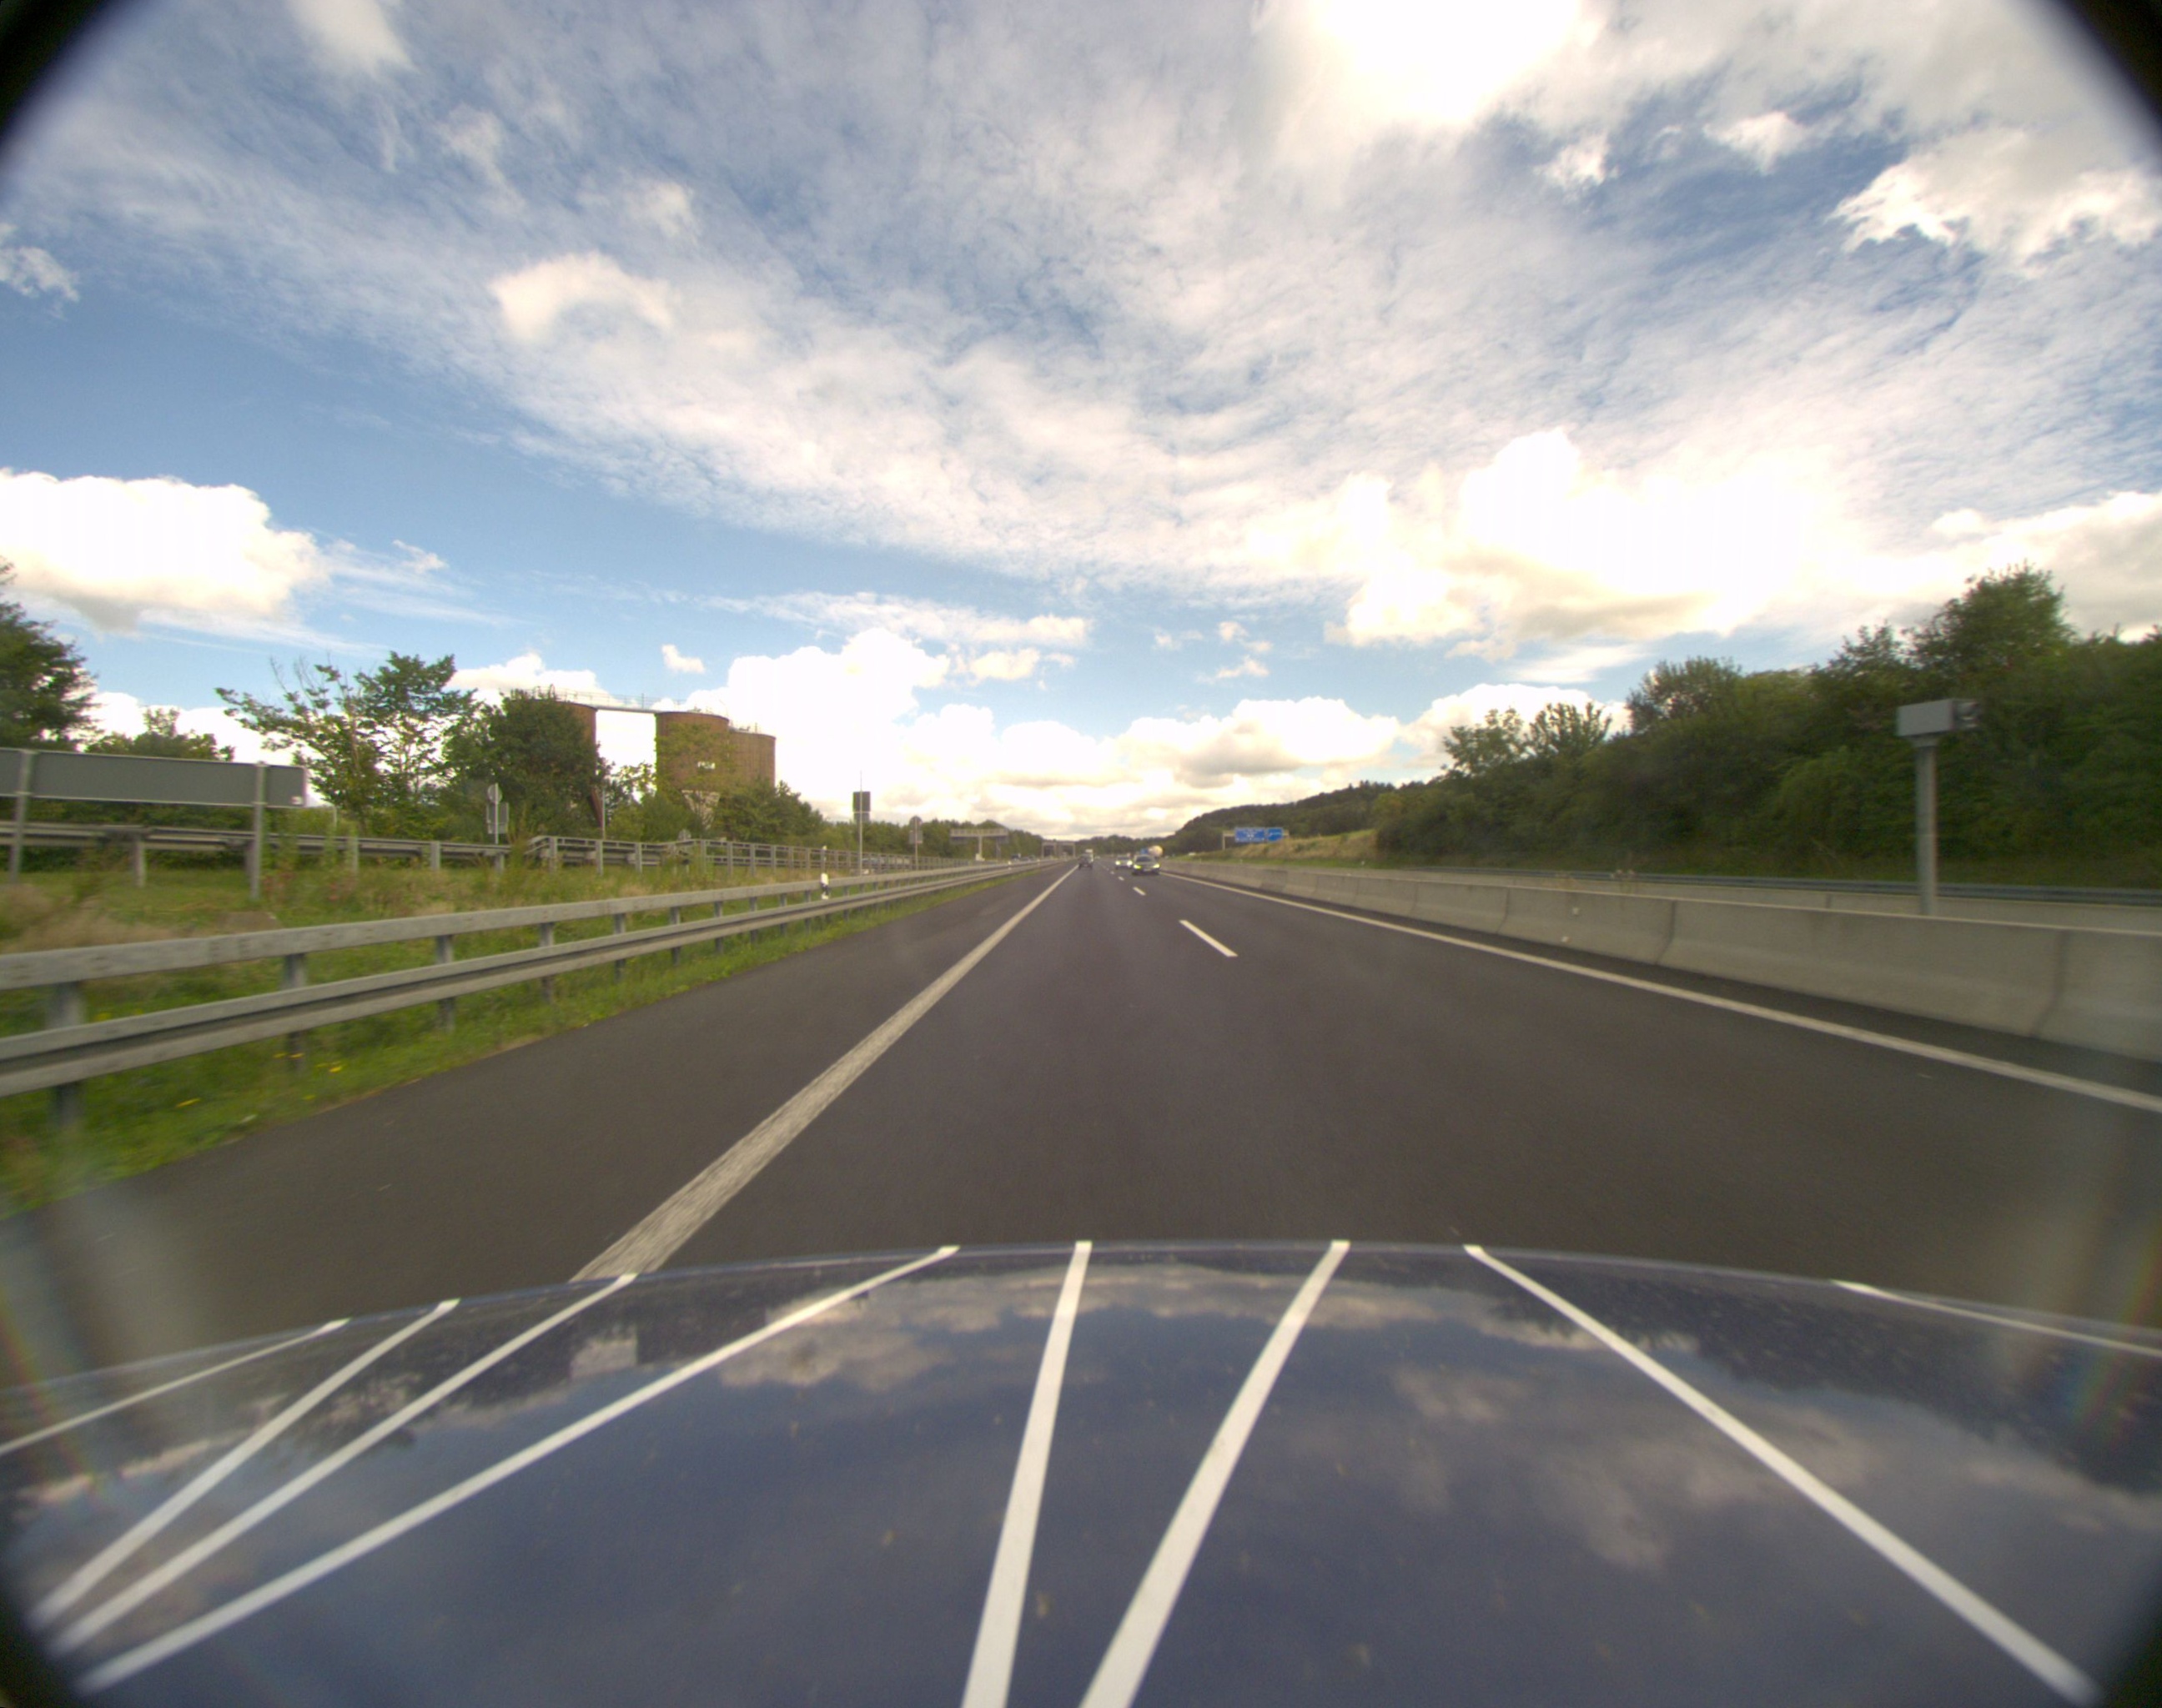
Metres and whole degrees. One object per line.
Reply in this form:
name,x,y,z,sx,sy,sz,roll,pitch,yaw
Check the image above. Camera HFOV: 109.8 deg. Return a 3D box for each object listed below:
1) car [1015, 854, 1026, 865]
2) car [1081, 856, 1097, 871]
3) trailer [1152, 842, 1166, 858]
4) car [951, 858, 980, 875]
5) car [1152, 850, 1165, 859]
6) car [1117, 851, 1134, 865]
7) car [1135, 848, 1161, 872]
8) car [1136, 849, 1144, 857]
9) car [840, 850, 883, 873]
car,-13.362,1.171,168.058,1.998,2.173,5.127,-1,0,0
car,0.983,1.075,90.254,1.670,1.722,4.207,-1,0,2
trailer,19.402,-0.965,190.301,2.720,3.864,11.161,0,0,2
car,-10.722,1.149,70.764,1.998,1.476,3.999,-1,0,0
car,14.143,0.117,139.248,1.998,1.707,4.000,0,0,1
car,4.848,0.432,83.409,1.724,1.406,3.939,-1,0,2
car,4.924,0.419,56.335,1.724,1.722,3.939,-1,0,2
car,14.810,-0.243,190.268,1.812,1.821,4.396,0,0,2
car,-16.584,0.547,57.568,1.998,1.698,4.000,0,0,1
